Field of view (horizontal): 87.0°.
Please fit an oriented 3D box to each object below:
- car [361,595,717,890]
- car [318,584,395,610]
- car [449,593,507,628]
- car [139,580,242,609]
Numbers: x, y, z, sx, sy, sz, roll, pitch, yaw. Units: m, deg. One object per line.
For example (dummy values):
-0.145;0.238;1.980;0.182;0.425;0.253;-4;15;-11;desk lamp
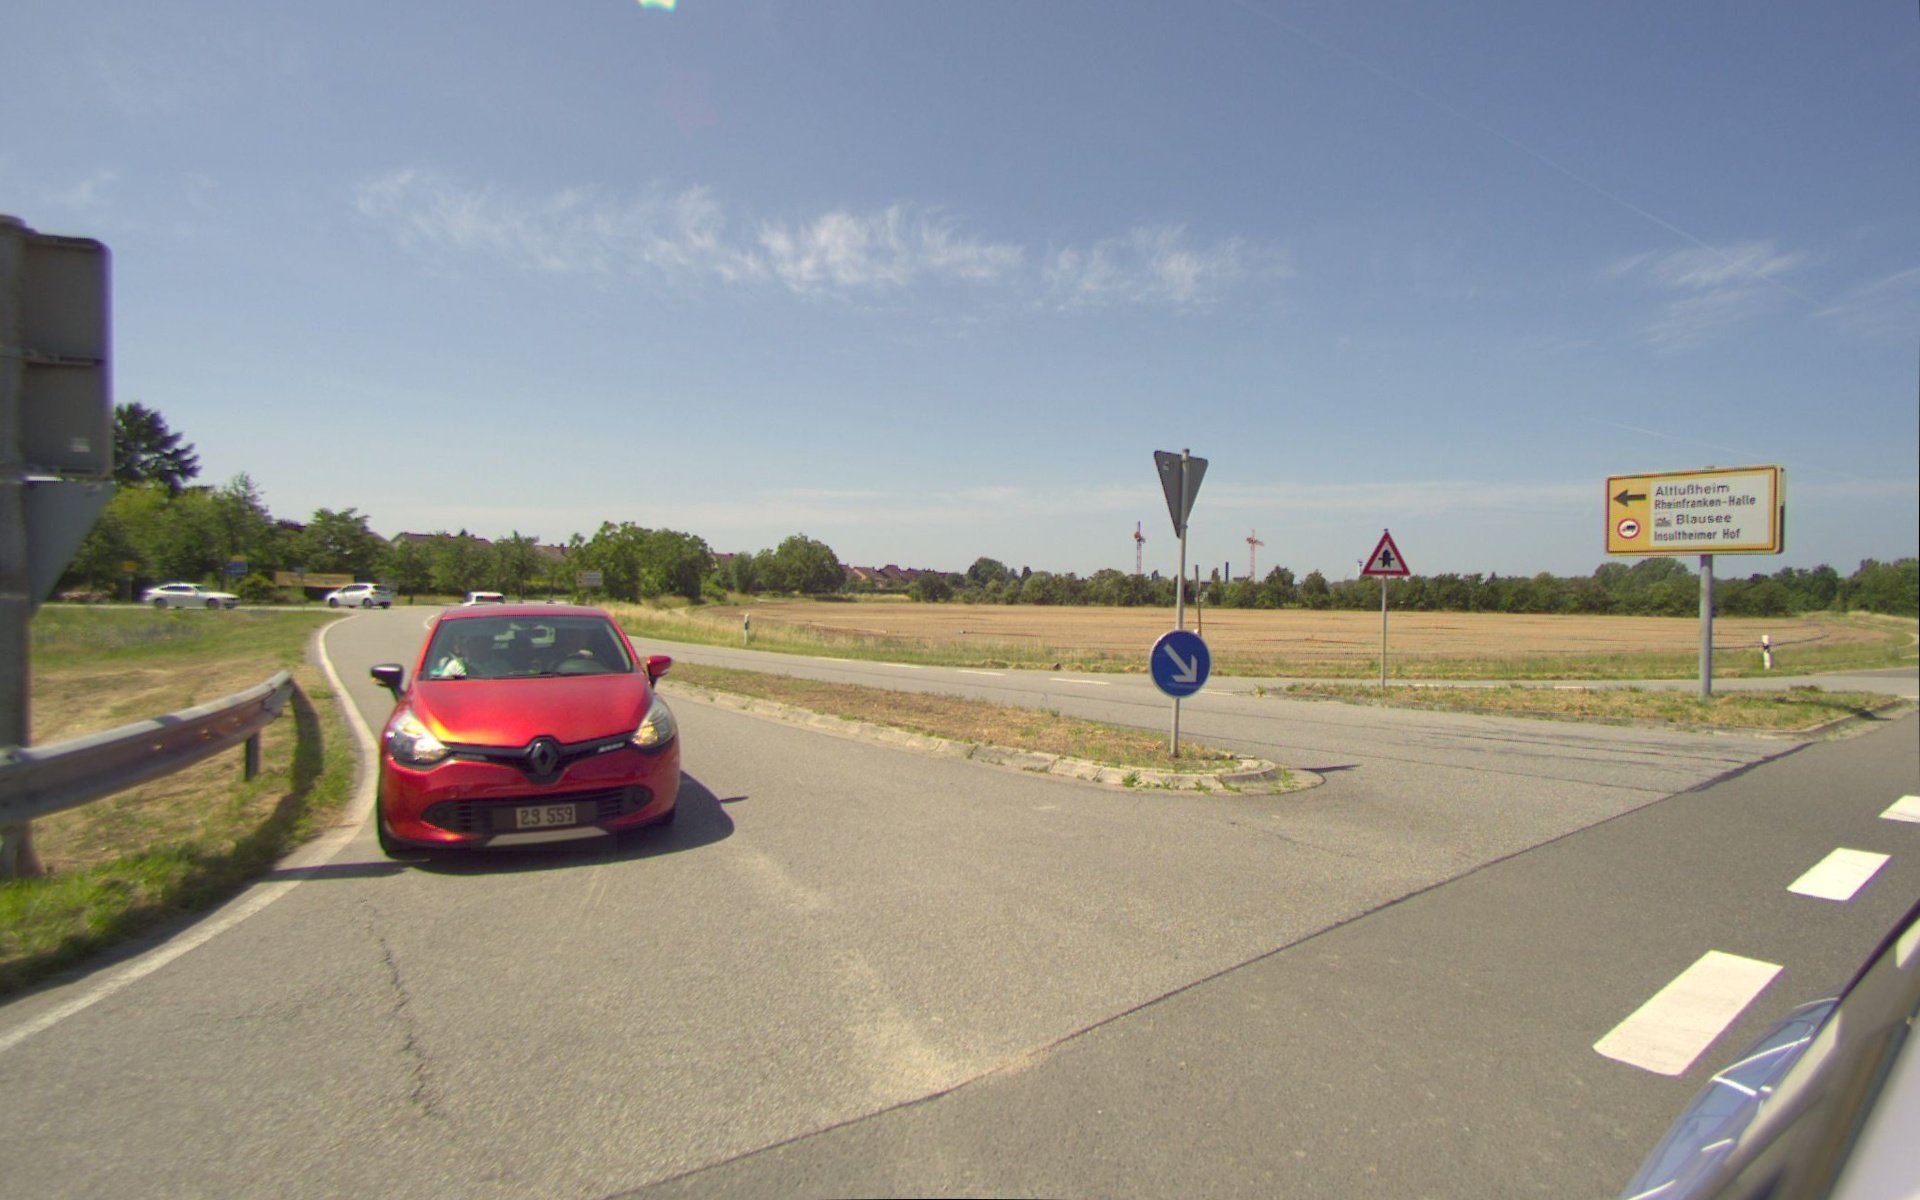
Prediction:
-3.087;0.692;7.217;1.743;1.436;4.172;0;0;-27;car
-39.177;-0.215;65.728;4.081;1.644;2.062;1;0;14;car
-20.918;0.487;43.852;1.805;1.437;4.718;0;-1;-31;car
-45.580;-0.330;59.996;4.671;1.644;1.646;1;0;-6;car
